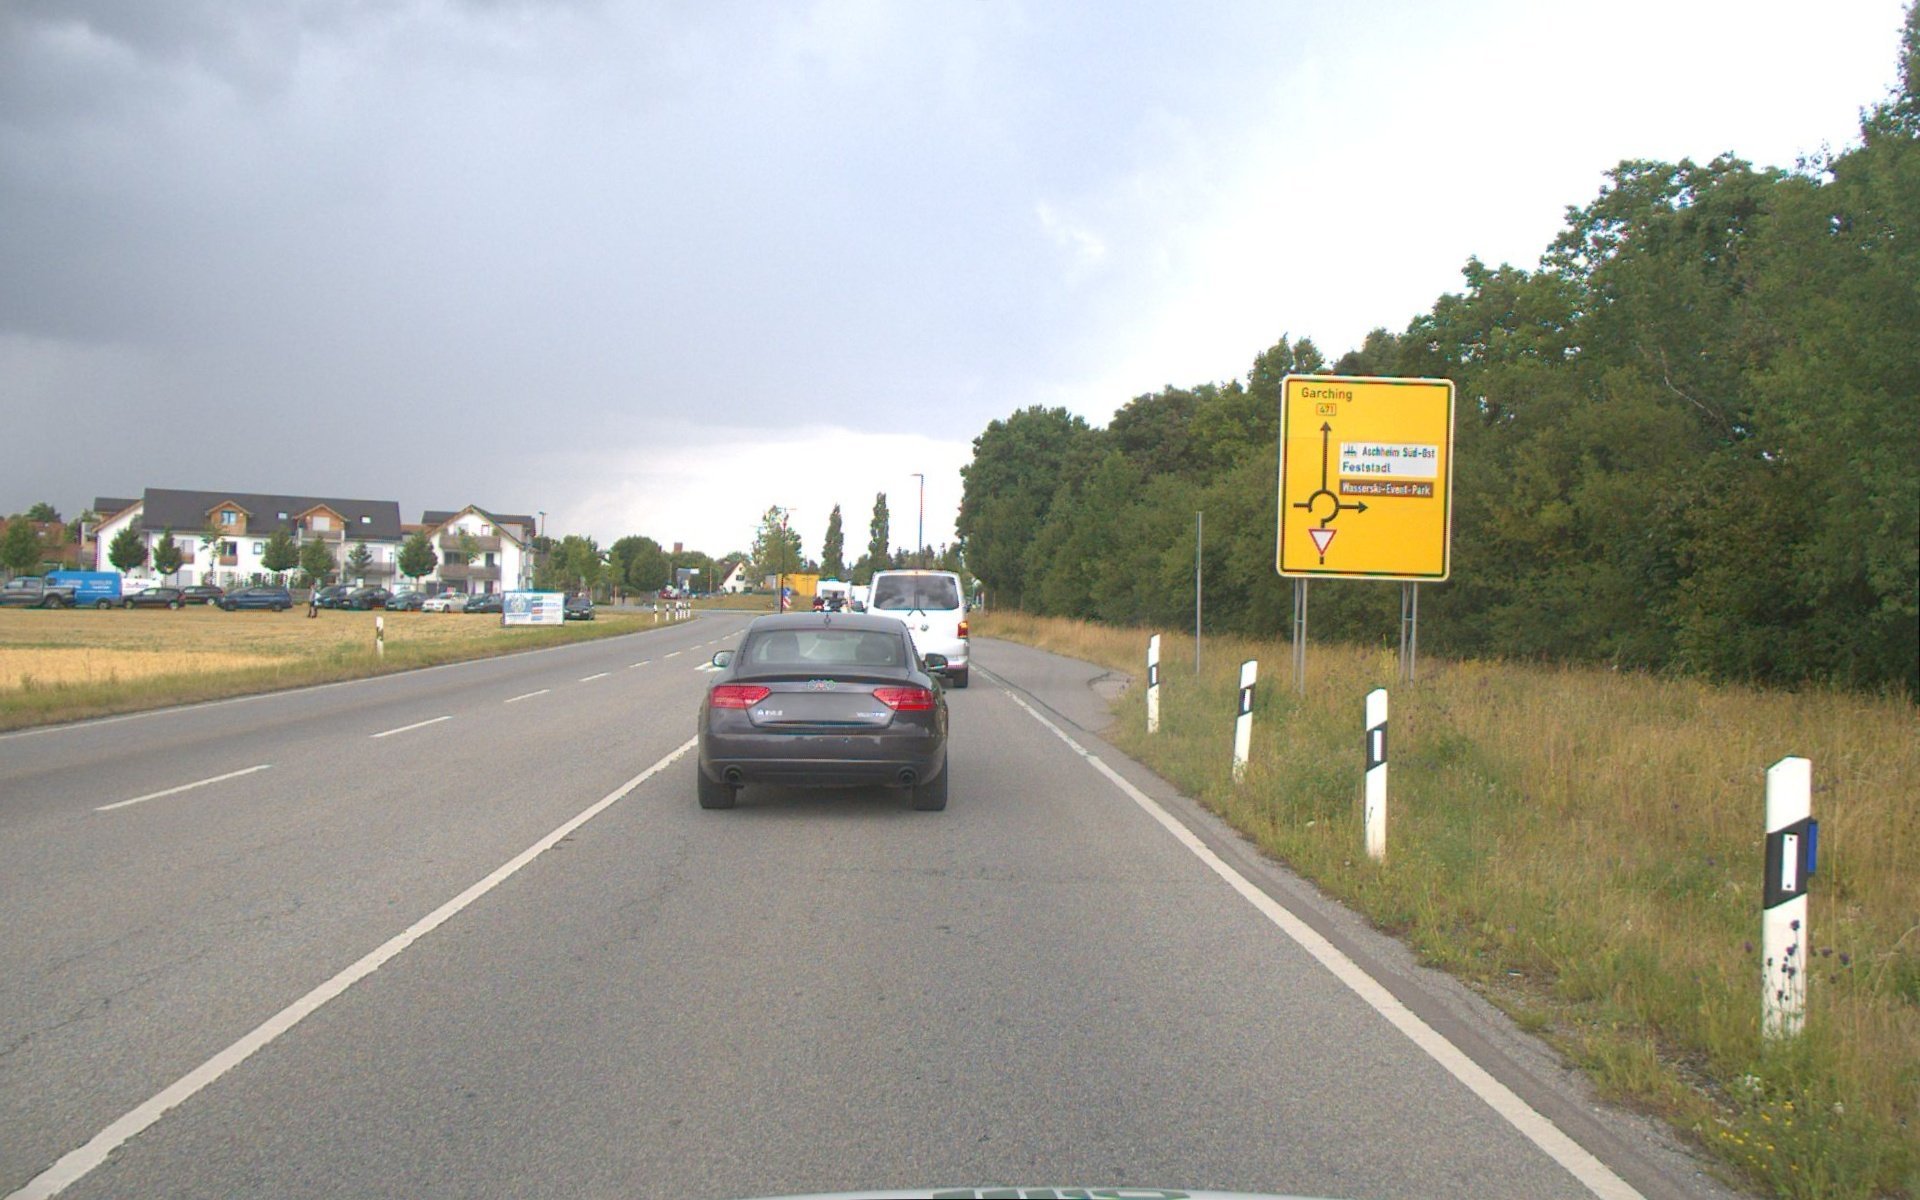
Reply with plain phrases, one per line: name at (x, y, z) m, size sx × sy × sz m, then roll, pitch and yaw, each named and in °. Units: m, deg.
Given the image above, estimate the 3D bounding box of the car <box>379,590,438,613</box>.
car at (-39.170, 0.113, 117.638) m, size 1.951 × 1.562 × 4.214 m, roll 1°, pitch 0°, yaw 15°

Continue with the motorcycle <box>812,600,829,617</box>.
motorcycle at (-8.688, 0.543, 102.823) m, size 0.927 × 1.037 × 2.279 m, roll 1°, pitch 0°, yaw -9°

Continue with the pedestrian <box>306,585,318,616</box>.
pedestrian at (-38.367, 0.047, 97.934) m, size 0.539 × 1.817 × 0.675 m, roll 1°, pitch 0°, yaw -15°

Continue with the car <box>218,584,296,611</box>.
car at (-46.631, -0.156, 109.756) m, size 4.653 × 1.727 × 1.985 m, roll 1°, pitch 0°, yaw -24°

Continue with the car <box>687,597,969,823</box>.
car at (-0.993, 0.723, 12.973) m, size 1.838 × 1.479 × 4.174 m, roll 1°, pitch 0°, yaw -4°

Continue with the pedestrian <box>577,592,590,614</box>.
pedestrian at (-28.862, 0.238, 126.775) m, size 0.686 × 1.613 × 0.658 m, roll 1°, pitch 0°, yaw 14°

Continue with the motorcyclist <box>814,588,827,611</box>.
motorcyclist at (-8.673, -0.035, 102.815) m, size 0.771 × 1.380 × 0.852 m, roll 1°, pitch 0°, yaw -9°

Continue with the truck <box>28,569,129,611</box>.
truck at (-54.551, -0.624, 102.481) m, size 5.381 × 2.489 × 2.374 m, roll 1°, pitch 0°, yaw -26°

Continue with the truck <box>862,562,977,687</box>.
truck at (-0.782, 0.395, 29.590) m, size 1.866 × 2.033 × 4.625 m, roll 1°, pitch 0°, yaw -3°

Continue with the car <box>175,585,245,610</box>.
car at (-54.890, -0.194, 121.105) m, size 4.564 × 1.727 × 1.986 m, roll 1°, pitch 0°, yaw -24°

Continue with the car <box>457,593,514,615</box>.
car at (-33.587, 0.301, 117.158) m, size 1.951 × 1.471 × 4.214 m, roll 1°, pitch 0°, yaw 15°

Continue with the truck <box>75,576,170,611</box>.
truck at (-55.563, -0.430, 109.886) m, size 5.496 × 2.235 × 2.585 m, roll 1°, pitch 0°, yaw -26°

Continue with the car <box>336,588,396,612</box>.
car at (-42.287, -0.023, 117.907) m, size 1.951 × 1.657 × 4.214 m, roll 1°, pitch 0°, yaw 15°

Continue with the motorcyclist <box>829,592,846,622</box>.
motorcyclist at (-5.928, 0.343, 79.827) m, size 0.756 × 1.407 × 0.820 m, roll 1°, pitch 0°, yaw -2°

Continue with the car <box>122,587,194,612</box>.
car at (-51.950, -0.018, 107.219) m, size 4.100 × 1.545 × 1.985 m, roll 1°, pitch 0°, yaw -24°

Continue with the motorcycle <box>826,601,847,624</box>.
motorcycle at (-5.963, 0.592, 79.948) m, size 0.901 × 1.113 × 2.187 m, roll 1°, pitch 0°, yaw -2°

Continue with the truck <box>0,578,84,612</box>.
truck at (-54.969, -0.303, 98.184) m, size 5.171 × 1.954 × 2.091 m, roll 1°, pitch 0°, yaw -30°

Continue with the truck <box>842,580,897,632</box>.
truck at (-3.767, 0.264, 69.021) m, size 2.150 × 2.049 × 5.081 m, roll 1°, pitch 0°, yaw -3°

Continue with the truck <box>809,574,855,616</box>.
truck at (-8.831, -0.344, 113.961) m, size 2.578 × 2.785 × 5.853 m, roll 2°, pitch 0°, yaw -10°

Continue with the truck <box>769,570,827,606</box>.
truck at (-17.226, -1.309, 175.271) m, size 3.525 × 3.641 × 9.894 m, roll 2°, pitch 0°, yaw -21°

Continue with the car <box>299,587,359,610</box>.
car at (-45.554, -0.112, 119.520) m, size 1.951 × 1.657 × 4.214 m, roll 1°, pitch 0°, yaw 15°

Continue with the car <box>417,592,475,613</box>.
car at (-36.443, 0.163, 117.389) m, size 1.951 × 1.471 × 4.214 m, roll 1°, pitch 0°, yaw 15°

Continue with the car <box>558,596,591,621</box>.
car at (-24.548, 0.507, 105.237) m, size 1.960 × 1.467 × 3.986 m, roll 1°, pitch 1°, yaw -14°
